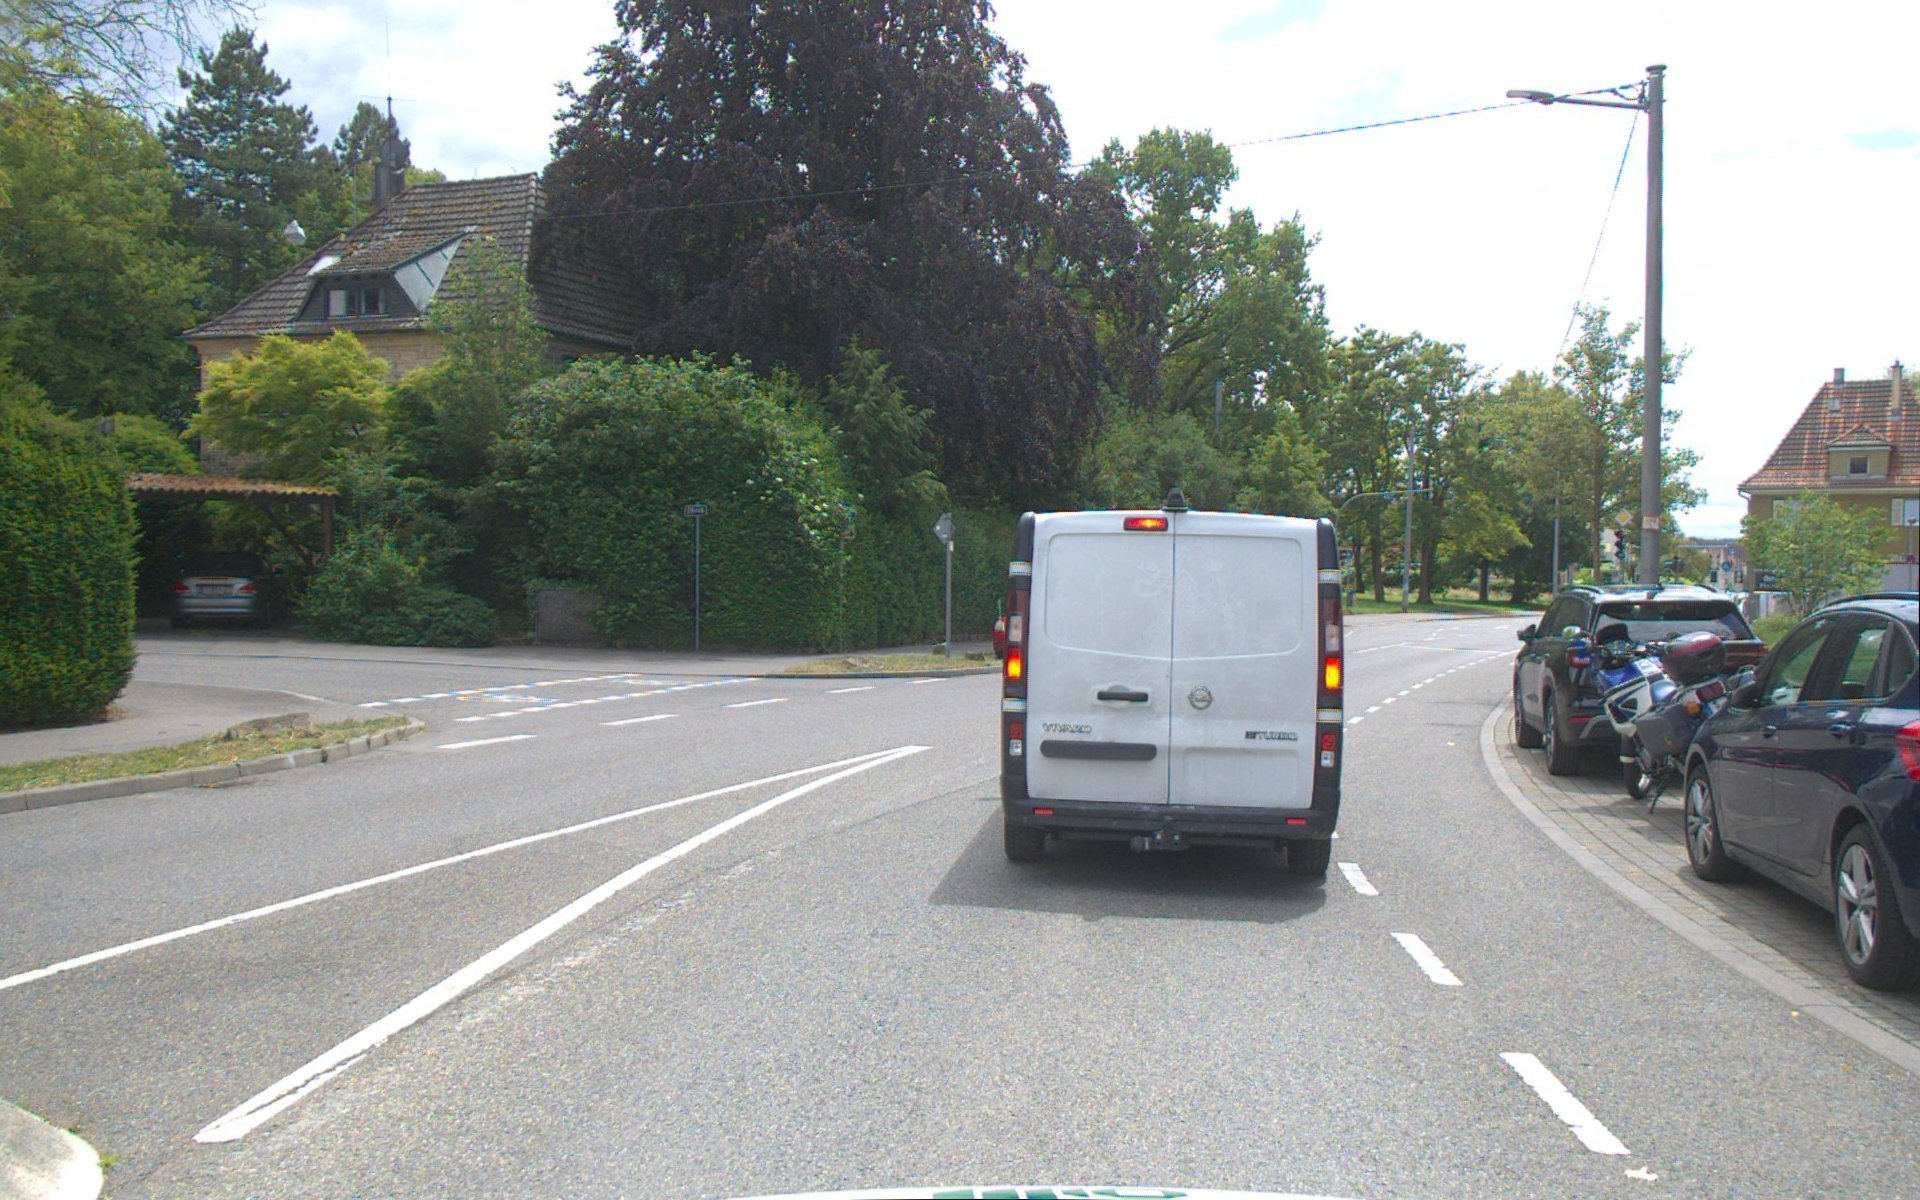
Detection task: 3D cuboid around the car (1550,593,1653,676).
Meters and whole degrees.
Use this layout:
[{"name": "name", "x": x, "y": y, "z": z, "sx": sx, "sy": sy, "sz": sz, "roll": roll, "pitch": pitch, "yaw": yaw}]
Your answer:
[{"name": "car", "x": 12.812, "y": 0.644, "z": 33.065, "sx": 1.728, "sy": 1.503, "sz": 4.936, "roll": -2, "pitch": -1, "yaw": 21}]

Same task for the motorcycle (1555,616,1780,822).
[{"name": "motorcycle", "x": 5.133, "y": 0.812, "z": 12.189, "sx": 1.048, "sy": 1.328, "sz": 2.262, "roll": -2, "pitch": 0, "yaw": 11}]

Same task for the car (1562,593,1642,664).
[{"name": "car", "x": 14.691, "y": 0.607, "z": 37.728, "sx": 1.537, "sy": 1.519, "sz": 3.998, "roll": 0, "pitch": 0, "yaw": 24}]

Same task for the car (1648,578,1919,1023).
[{"name": "car", "x": 4.756, "y": 0.709, "z": 7.825, "sx": 1.875, "sy": 1.606, "sz": 4.434, "roll": -1, "pitch": 0, "yaw": 11}]

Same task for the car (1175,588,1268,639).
[{"name": "car", "x": 7.949, "y": 0.374, "z": 50.019, "sx": 1.661, "sy": 1.389, "sz": 4.685, "roll": 3, "pitch": 1, "yaw": 23}]

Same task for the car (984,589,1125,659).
[{"name": "car", "x": 2.181, "y": 0.500, "z": 36.741, "sx": 1.627, "sy": 1.402, "sz": 4.564, "roll": 2, "pitch": 1, "yaw": 23}]

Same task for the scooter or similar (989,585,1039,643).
[{"name": "scooter or similar", "x": 1.403, "y": 0.344, "z": 42.481, "sx": 0.657, "sy": 1.436, "sz": 1.648, "roll": 2, "pitch": 1, "yaw": 25}]

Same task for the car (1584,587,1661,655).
[{"name": "car", "x": 17.170, "y": 0.530, "z": 42.778, "sx": 1.702, "sy": 1.644, "sz": 4.385, "roll": -2, "pitch": -1, "yaw": 23}]

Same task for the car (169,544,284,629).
[{"name": "car", "x": -14.329, "y": -0.306, "z": 32.484, "sx": 1.697, "sy": 1.536, "sz": 3.978, "roll": 1, "pitch": 1, "yaw": -19}]

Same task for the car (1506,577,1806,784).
[{"name": "car", "x": 6.406, "y": 0.644, "z": 15.770, "sx": 1.838, "sy": 1.650, "sz": 4.851, "roll": -1, "pitch": 0, "yaw": 13}]

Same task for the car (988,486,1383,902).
[{"name": "car", "x": 1.532, "y": 0.447, "z": 10.681, "sx": 1.897, "sy": 1.995, "sz": 4.837, "roll": 2, "pitch": 0, "yaw": 10}]
